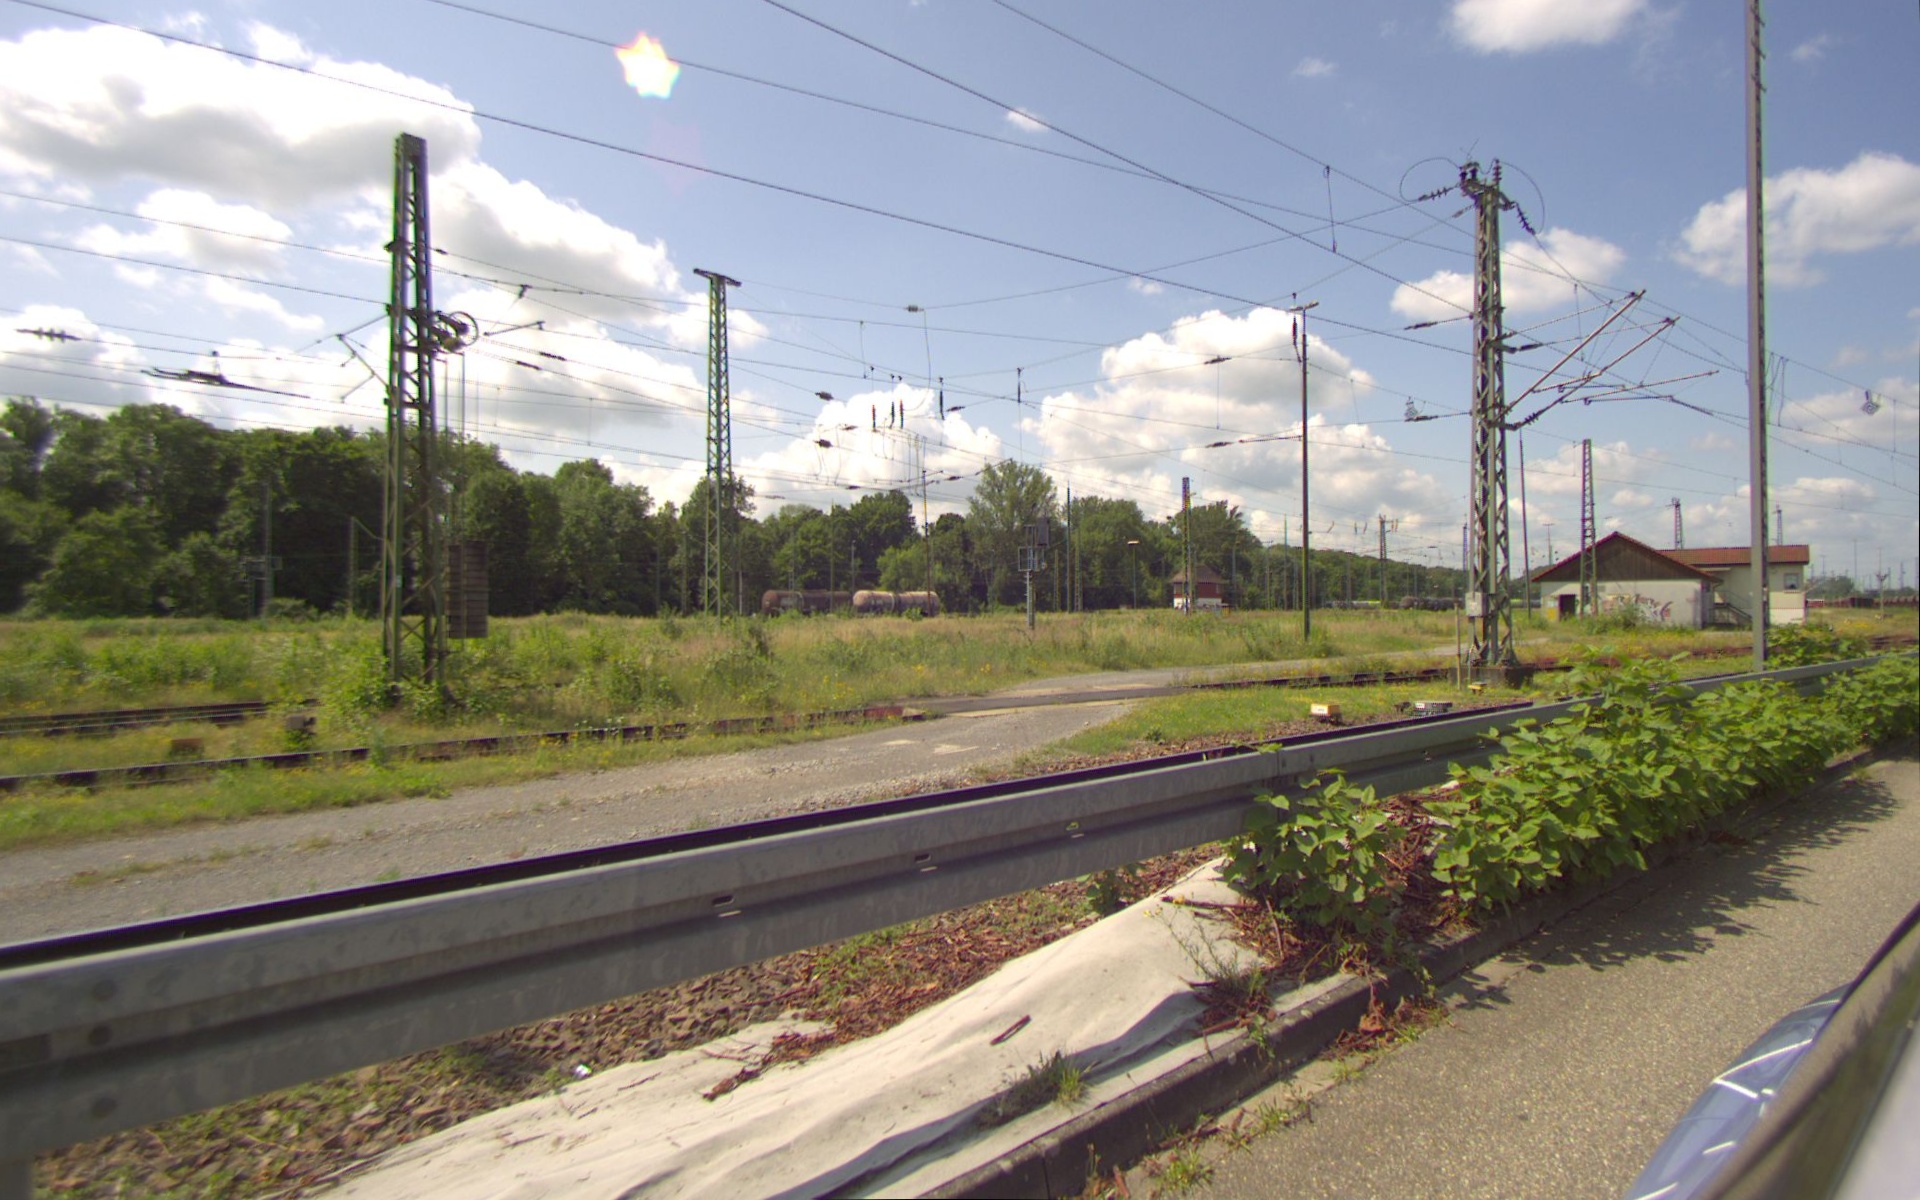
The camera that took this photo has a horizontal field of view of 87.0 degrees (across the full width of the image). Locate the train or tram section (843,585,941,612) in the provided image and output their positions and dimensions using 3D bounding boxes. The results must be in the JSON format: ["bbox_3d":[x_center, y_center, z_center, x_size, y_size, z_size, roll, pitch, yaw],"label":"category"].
[{"bbox_3d":[-8.656,-0.242,132.537,3.020,3.347,15.535,-1,0,39],"label":"train or tram section"}]

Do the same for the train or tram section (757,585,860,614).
[{"bbox_3d":[-17.904,-0.090,121.207,3.020,3.347,13.740,-1,0,39],"label":"train or tram section"}]
